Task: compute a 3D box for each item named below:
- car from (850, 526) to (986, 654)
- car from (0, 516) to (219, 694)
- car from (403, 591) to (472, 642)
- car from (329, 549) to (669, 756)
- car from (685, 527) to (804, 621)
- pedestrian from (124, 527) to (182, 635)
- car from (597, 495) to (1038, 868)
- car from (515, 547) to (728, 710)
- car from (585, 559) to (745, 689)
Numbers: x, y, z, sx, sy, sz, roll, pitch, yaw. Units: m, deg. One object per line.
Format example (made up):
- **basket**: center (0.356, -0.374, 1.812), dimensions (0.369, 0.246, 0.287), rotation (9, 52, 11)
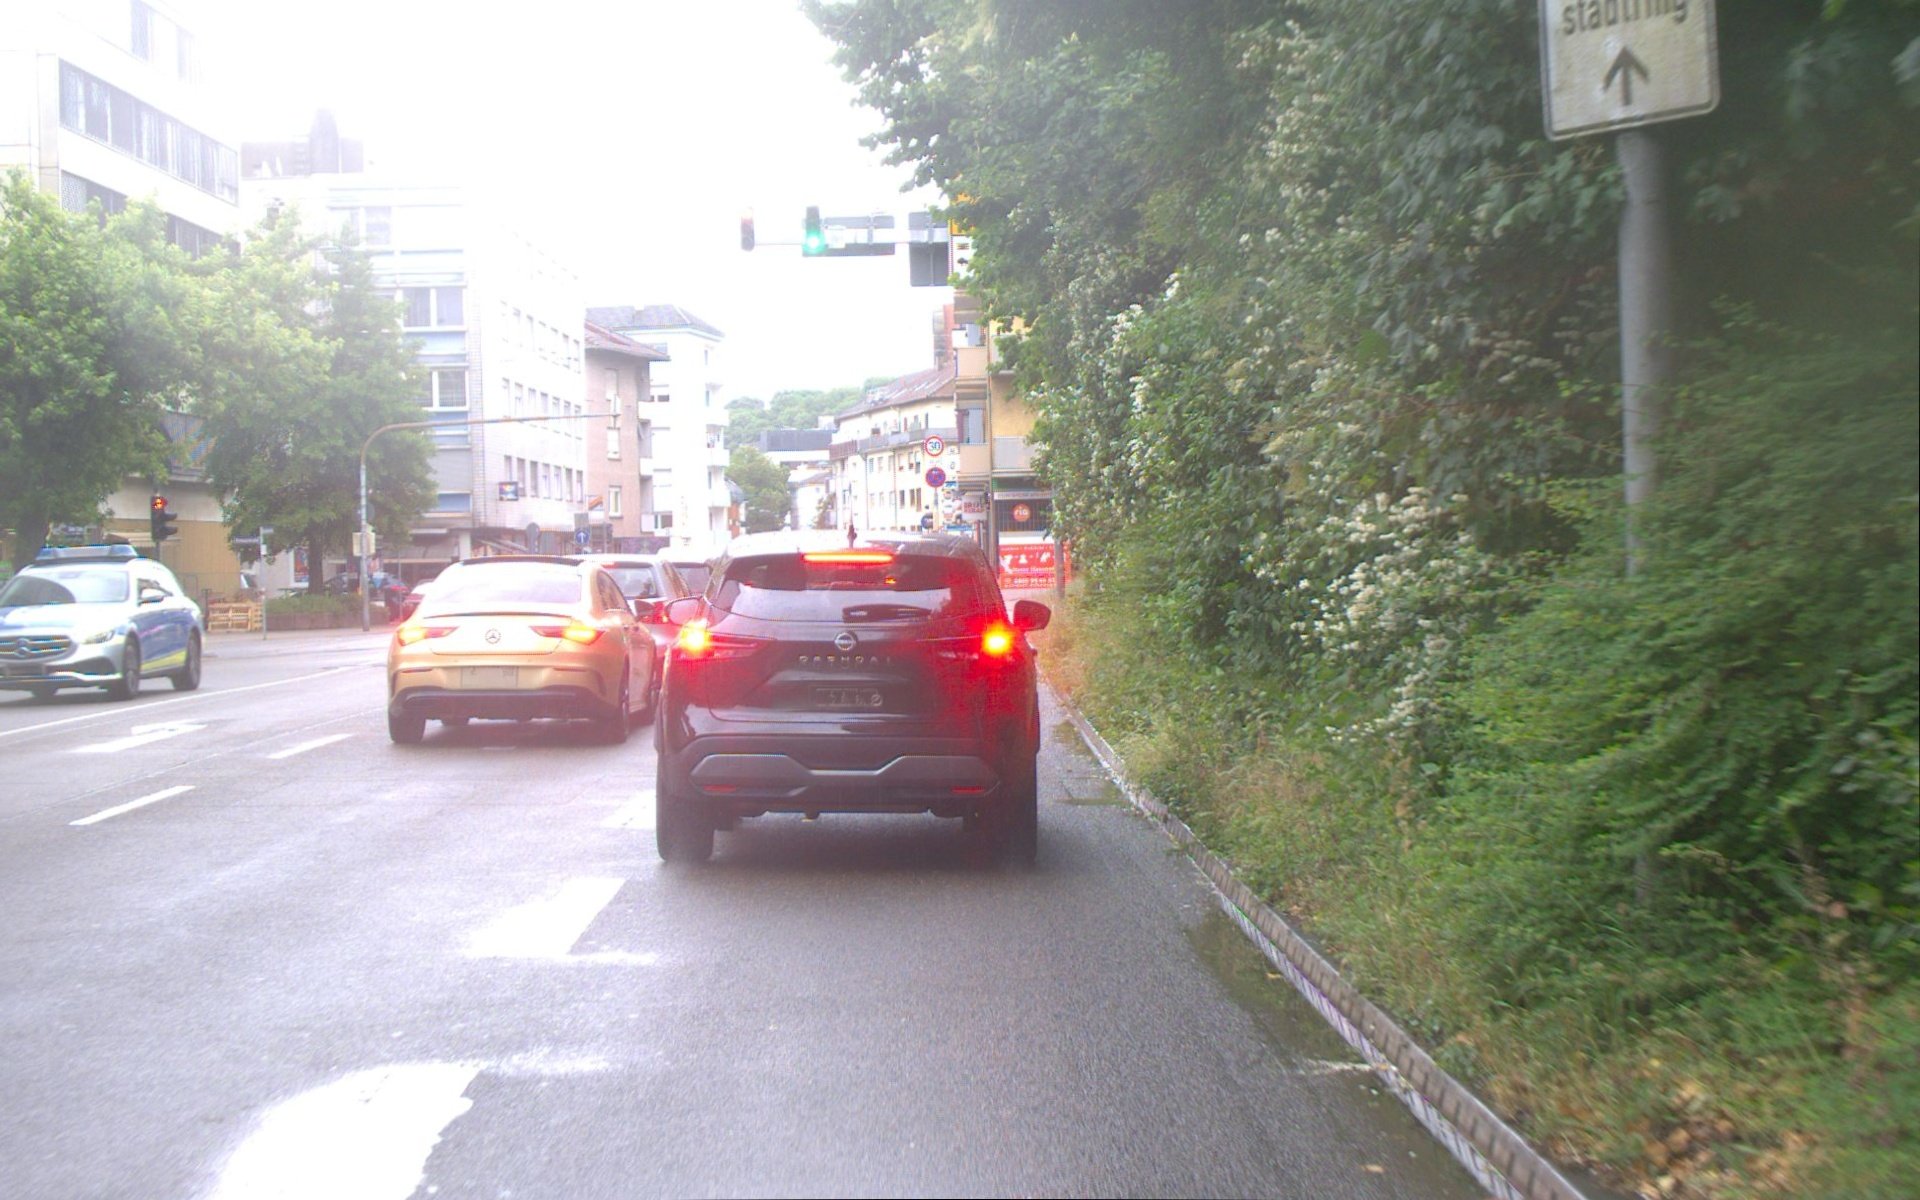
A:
- **car**: center (-0.659, -0.195, 57.309), dimensions (1.994, 2.007, 4.000), rotation (-2, 1, 2)
- **car**: center (-9.506, 0.045, 37.002), dimensions (1.993, 1.744, 4.808), rotation (-2, 1, -1)
- **car**: center (-16.352, 0.493, 107.720), dimensions (1.672, 1.473, 3.608), rotation (-3, 0, -2)
- **car**: center (-3.564, 0.349, 27.425), dimensions (2.066, 1.459, 4.587), rotation (-1, 1, 0)
- **car**: center (-3.503, -0.446, 56.373), dimensions (1.767, 1.439, 4.000), rotation (-2, 1, -2)
- **pedestrian**: center (-15.220, -0.361, 64.889), dimensions (0.940, 2.007, 0.887), rotation (-2, 1, -9)
- **car**: center (-0.699, 0.339, 17.552), dimensions (1.959, 1.647, 4.000), rotation (-1, 1, -2)
- **car**: center (-3.341, 0.245, 34.586), dimensions (1.744, 1.482, 4.162), rotation (-2, 1, -1)
- **car**: center (-3.413, 0.239, 40.363), dimensions (1.613, 1.416, 3.967), rotation (-1, 1, -1)
